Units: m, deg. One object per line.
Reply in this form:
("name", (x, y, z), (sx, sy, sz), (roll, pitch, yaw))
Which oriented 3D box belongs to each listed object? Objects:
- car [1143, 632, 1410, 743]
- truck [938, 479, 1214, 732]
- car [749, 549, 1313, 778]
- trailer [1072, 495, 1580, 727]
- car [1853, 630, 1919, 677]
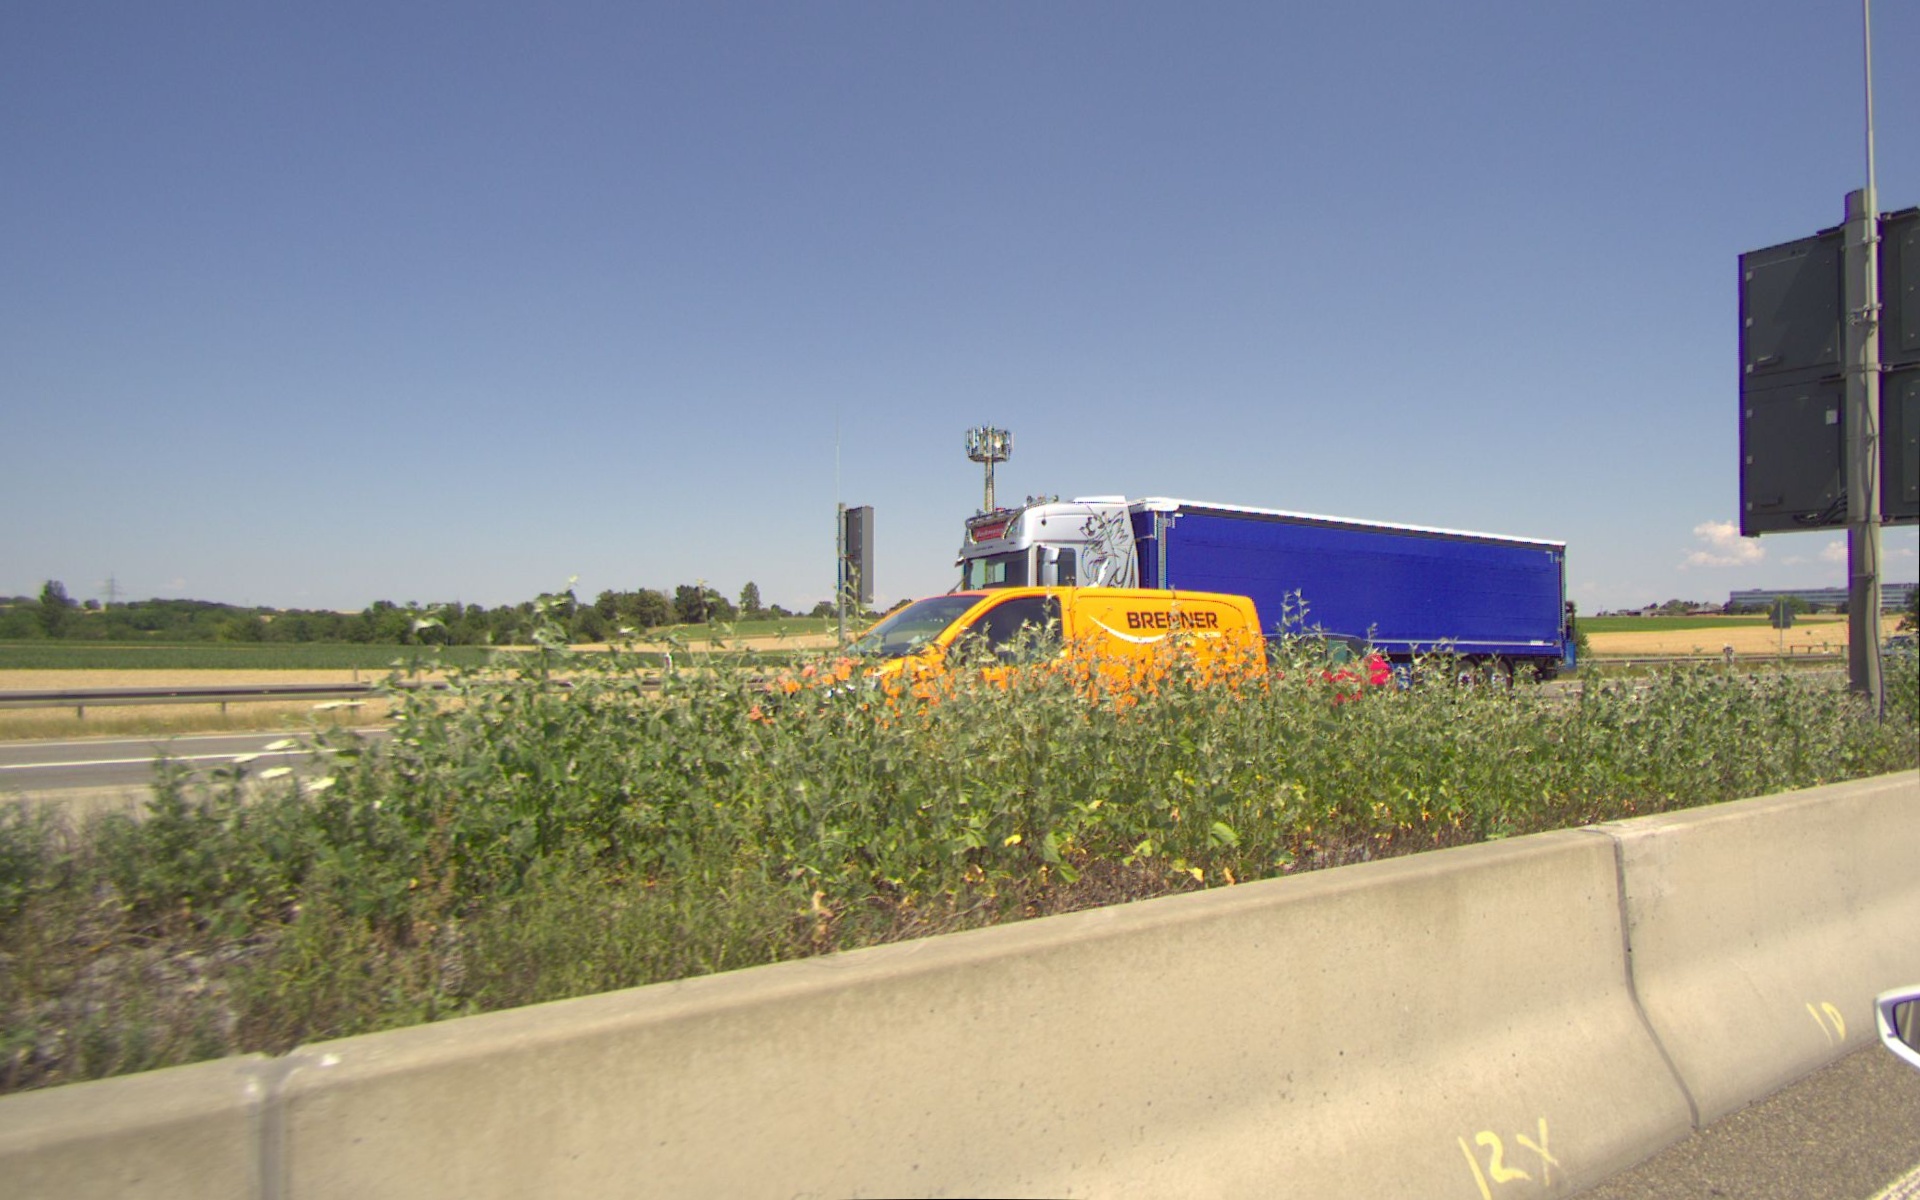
("car", (4.974, 1.270, 15.621), (4.179, 1.528, 1.580), (1, -2, -30))
("truck", (2.166, 0.156, 18.614), (4.604, 4.140, 2.400), (1, -2, -30))
("car", (0.771, 0.525, 9.083), (4.880, 1.599, 1.885), (2, -1, -31))
("trailer", (8.822, 0.334, 22.509), (13.930, 4.140, 2.375), (1, -2, -30))
("car", (36.957, 2.081, 39.339), (4.033, 1.742, 1.824), (1, -3, -31))
